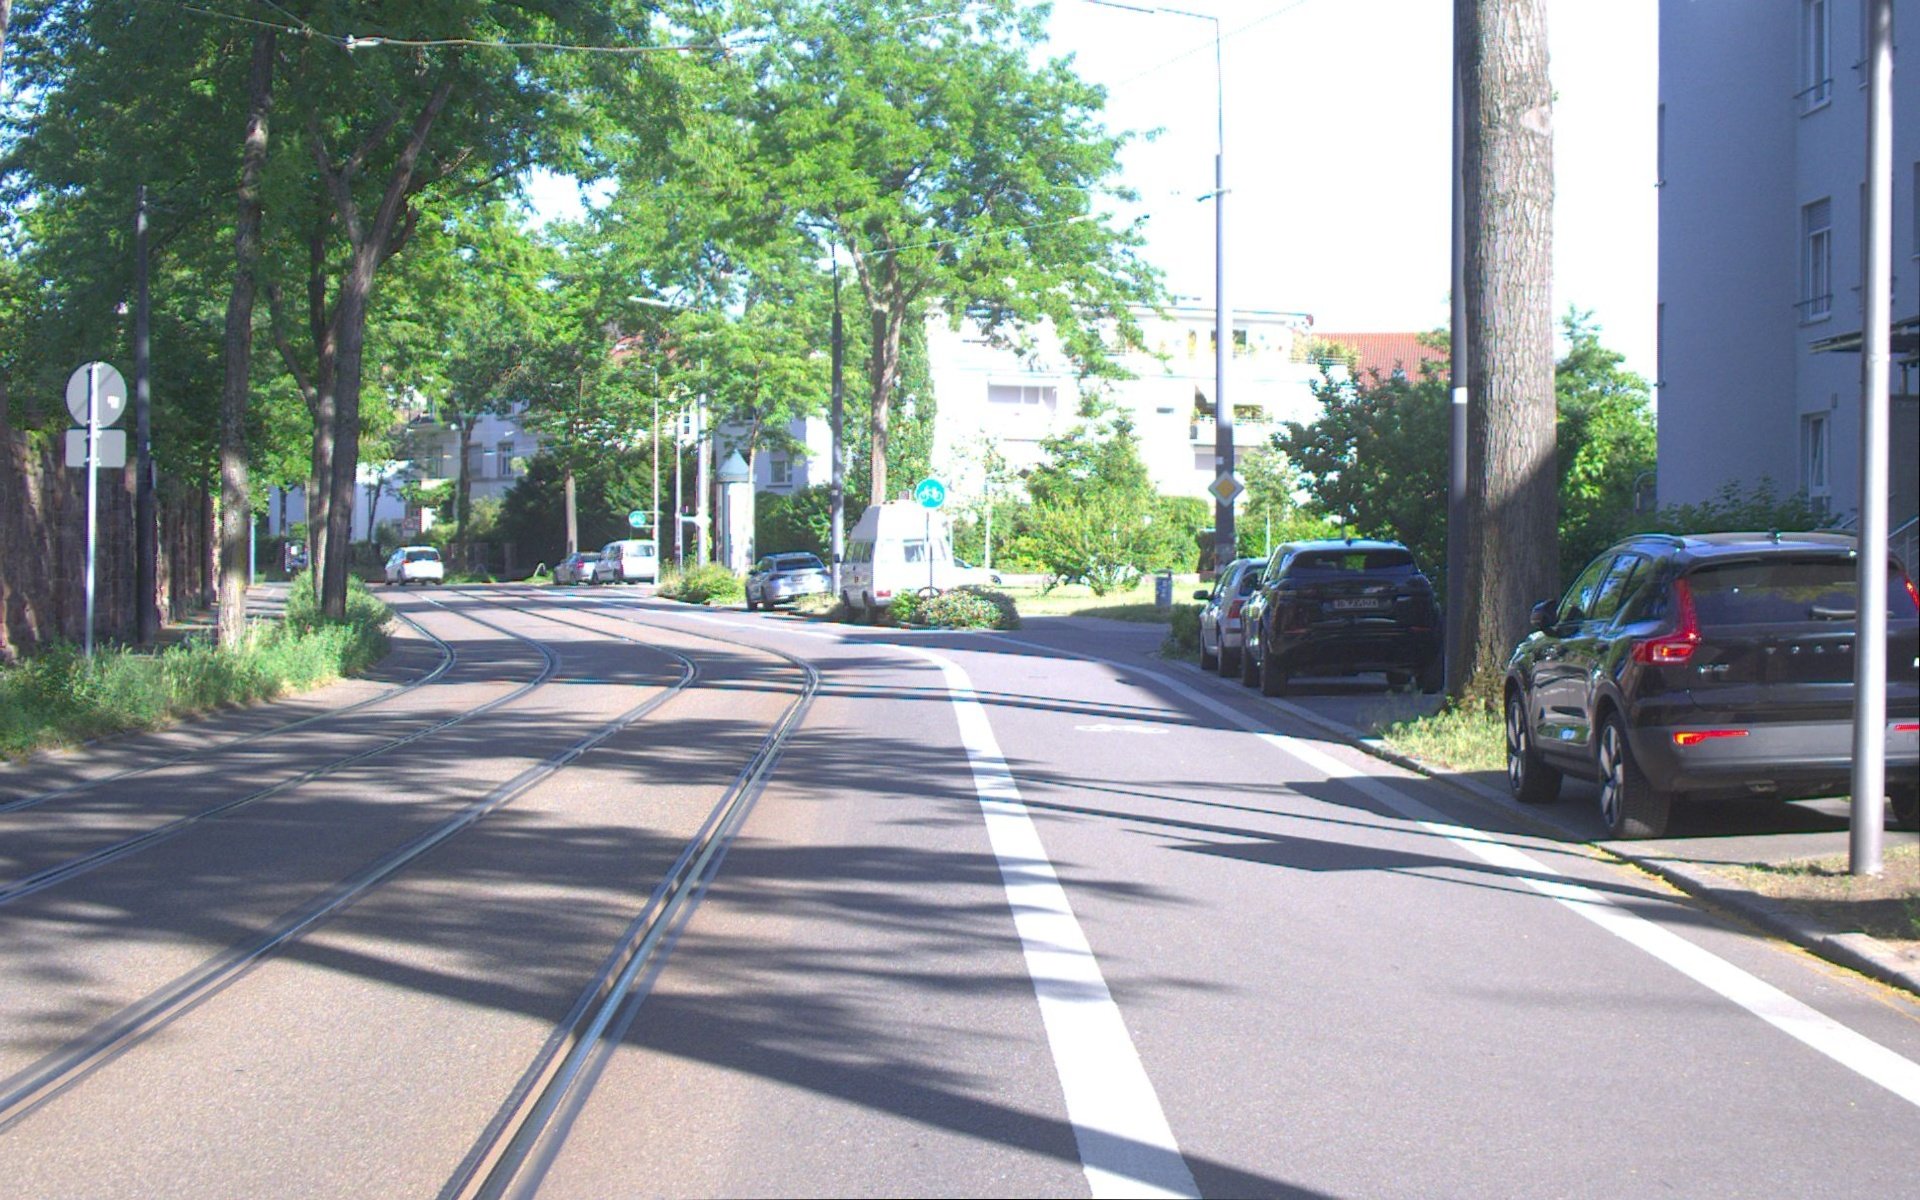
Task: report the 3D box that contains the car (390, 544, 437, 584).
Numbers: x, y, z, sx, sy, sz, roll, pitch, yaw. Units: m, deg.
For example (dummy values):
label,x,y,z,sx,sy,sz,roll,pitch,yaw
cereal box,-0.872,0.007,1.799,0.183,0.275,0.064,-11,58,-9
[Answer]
label,x,y,z,sx,sy,sz,roll,pitch,yaw
car,-23.622,-1.584,148.539,1.865,1.669,4.174,-1,1,-10

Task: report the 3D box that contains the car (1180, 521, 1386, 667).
label,x,y,z,sx,sy,sz,roll,pitch,yaw
car,3.967,-0.113,42.897,2.003,1.669,4.393,-2,1,-1

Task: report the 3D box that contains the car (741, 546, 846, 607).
label,x,y,z,sx,sy,sz,roll,pitch,yaw
car,-4.430,-0.635,90.894,2.002,1.555,4.394,-1,1,-13

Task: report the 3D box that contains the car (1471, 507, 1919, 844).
label,x,y,z,sx,sy,sz,roll,pitch,yaw
car,4.339,0.339,19.793,2.003,1.669,4.393,-2,1,-1

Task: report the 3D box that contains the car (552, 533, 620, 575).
label,x,y,z,sx,sy,sz,roll,pitch,yaw
car,-15.940,-1.947,146.399,2.002,1.669,4.174,-2,1,-18

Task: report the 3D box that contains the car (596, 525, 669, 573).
label,x,y,z,sx,sy,sz,roll,pitch,yaw
car,-13.425,-2.074,140.678,2.002,1.903,4.393,-2,1,-18

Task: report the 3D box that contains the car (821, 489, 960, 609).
label,x,y,z,sx,sy,sz,roll,pitch,yaw
car,-1.511,-1.087,72.963,1.993,2.449,4.510,-1,1,-14

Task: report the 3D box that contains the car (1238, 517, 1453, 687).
label,x,y,z,sx,sy,sz,roll,pitch,yaw
car,4.113,-0.028,37.263,2.003,1.669,4.392,-2,1,3
